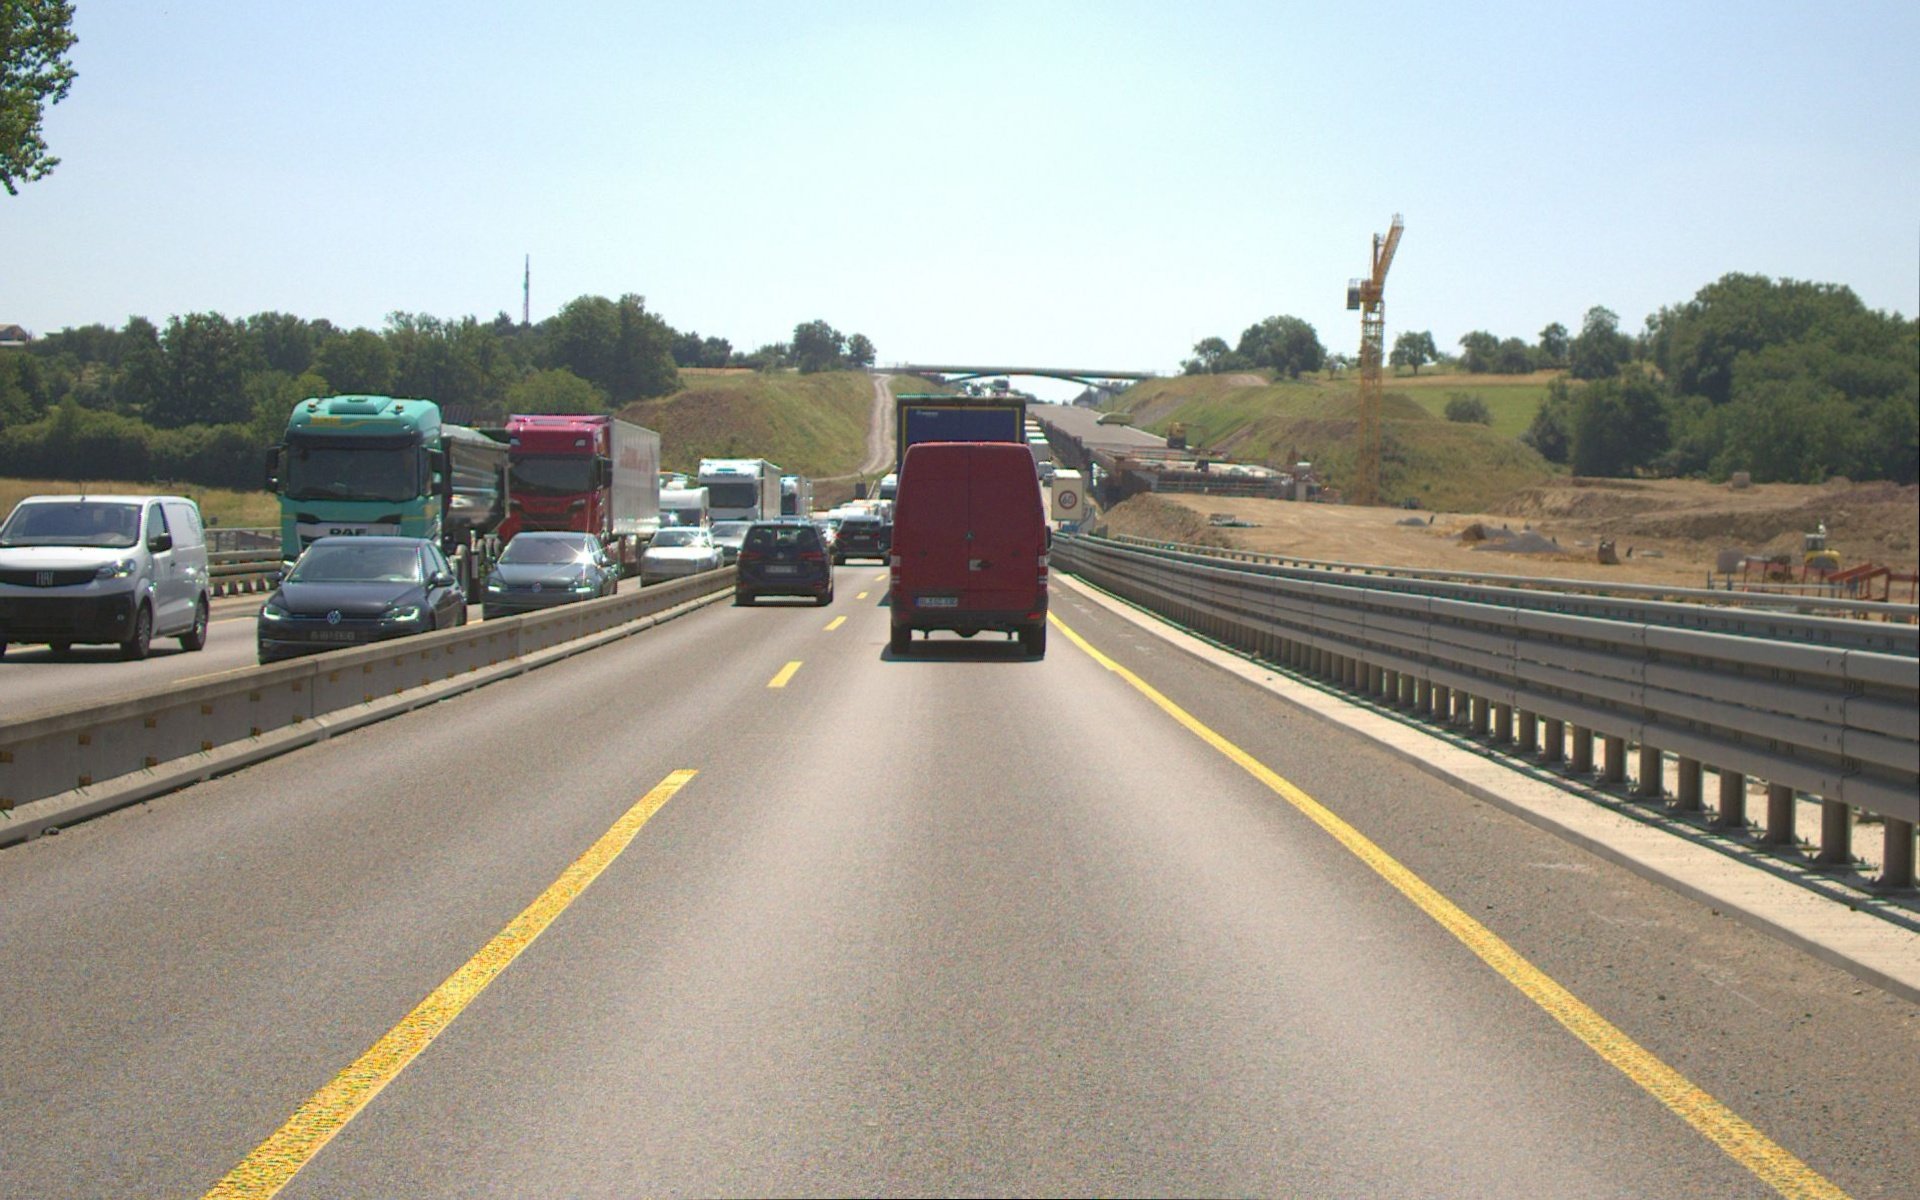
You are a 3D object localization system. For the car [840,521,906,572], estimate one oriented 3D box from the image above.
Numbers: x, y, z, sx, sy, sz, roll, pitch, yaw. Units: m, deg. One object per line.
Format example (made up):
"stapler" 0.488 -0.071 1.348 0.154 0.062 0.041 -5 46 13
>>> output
"car" -2.794 -1.755 111.508 2.012 1.539 4.133 2 2 0

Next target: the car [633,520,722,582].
"car" -6.583 -1.160 80.525 1.781 1.375 4.712 -1 1 -1

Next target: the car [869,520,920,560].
"car" -2.730 -2.523 143.346 2.012 1.539 4.133 2 2 0

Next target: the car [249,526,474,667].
"car" -6.364 -0.081 36.948 1.679 1.387 4.156 -1 1 0

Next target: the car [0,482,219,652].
"car" -10.056 -0.414 40.099 1.859 1.861 4.630 0 1 -1

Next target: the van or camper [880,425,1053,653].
"van or camper" 0.030 -0.799 43.972 2.029 2.735 4.516 1 1 -2

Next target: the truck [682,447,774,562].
"truck" -9.398 -3.888 140.155 3.078 4.521 7.103 1 1 1

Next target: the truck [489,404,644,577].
"truck" -9.556 -2.693 84.134 2.816 4.023 6.523 1 2 2

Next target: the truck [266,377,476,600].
"truck" -10.214 -1.897 60.069 2.796 3.709 5.374 0 1 -1

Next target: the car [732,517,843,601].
"car" -3.321 -0.820 66.875 2.012 1.539 4.133 1 1 -1

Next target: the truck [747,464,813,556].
"truck" -8.815 -4.441 169.325 2.806 4.377 6.225 1 2 1

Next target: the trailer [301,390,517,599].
"trailer" -10.312 -1.996 65.219 2.794 3.660 8.958 1 2 -1

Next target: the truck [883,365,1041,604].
"truck" -0.038 -2.380 71.591 3.020 4.677 6.933 -1 1 -1

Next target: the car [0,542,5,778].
"car" -6.236 0.358 16.902 1.825 1.413 4.657 -1 1 -1

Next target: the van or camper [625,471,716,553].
"van or camper" -9.732 -2.963 115.853 2.503 2.689 5.244 1 2 1

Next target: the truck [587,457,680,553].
"truck" -13.425 -3.930 142.106 2.904 3.752 8.368 2 2 0

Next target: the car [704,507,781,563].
"car" -6.294 -1.896 99.976 1.890 1.482 4.920 -3 1 0

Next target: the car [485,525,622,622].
"car" -6.248 -0.437 53.172 1.631 1.403 4.103 -1 1 0
